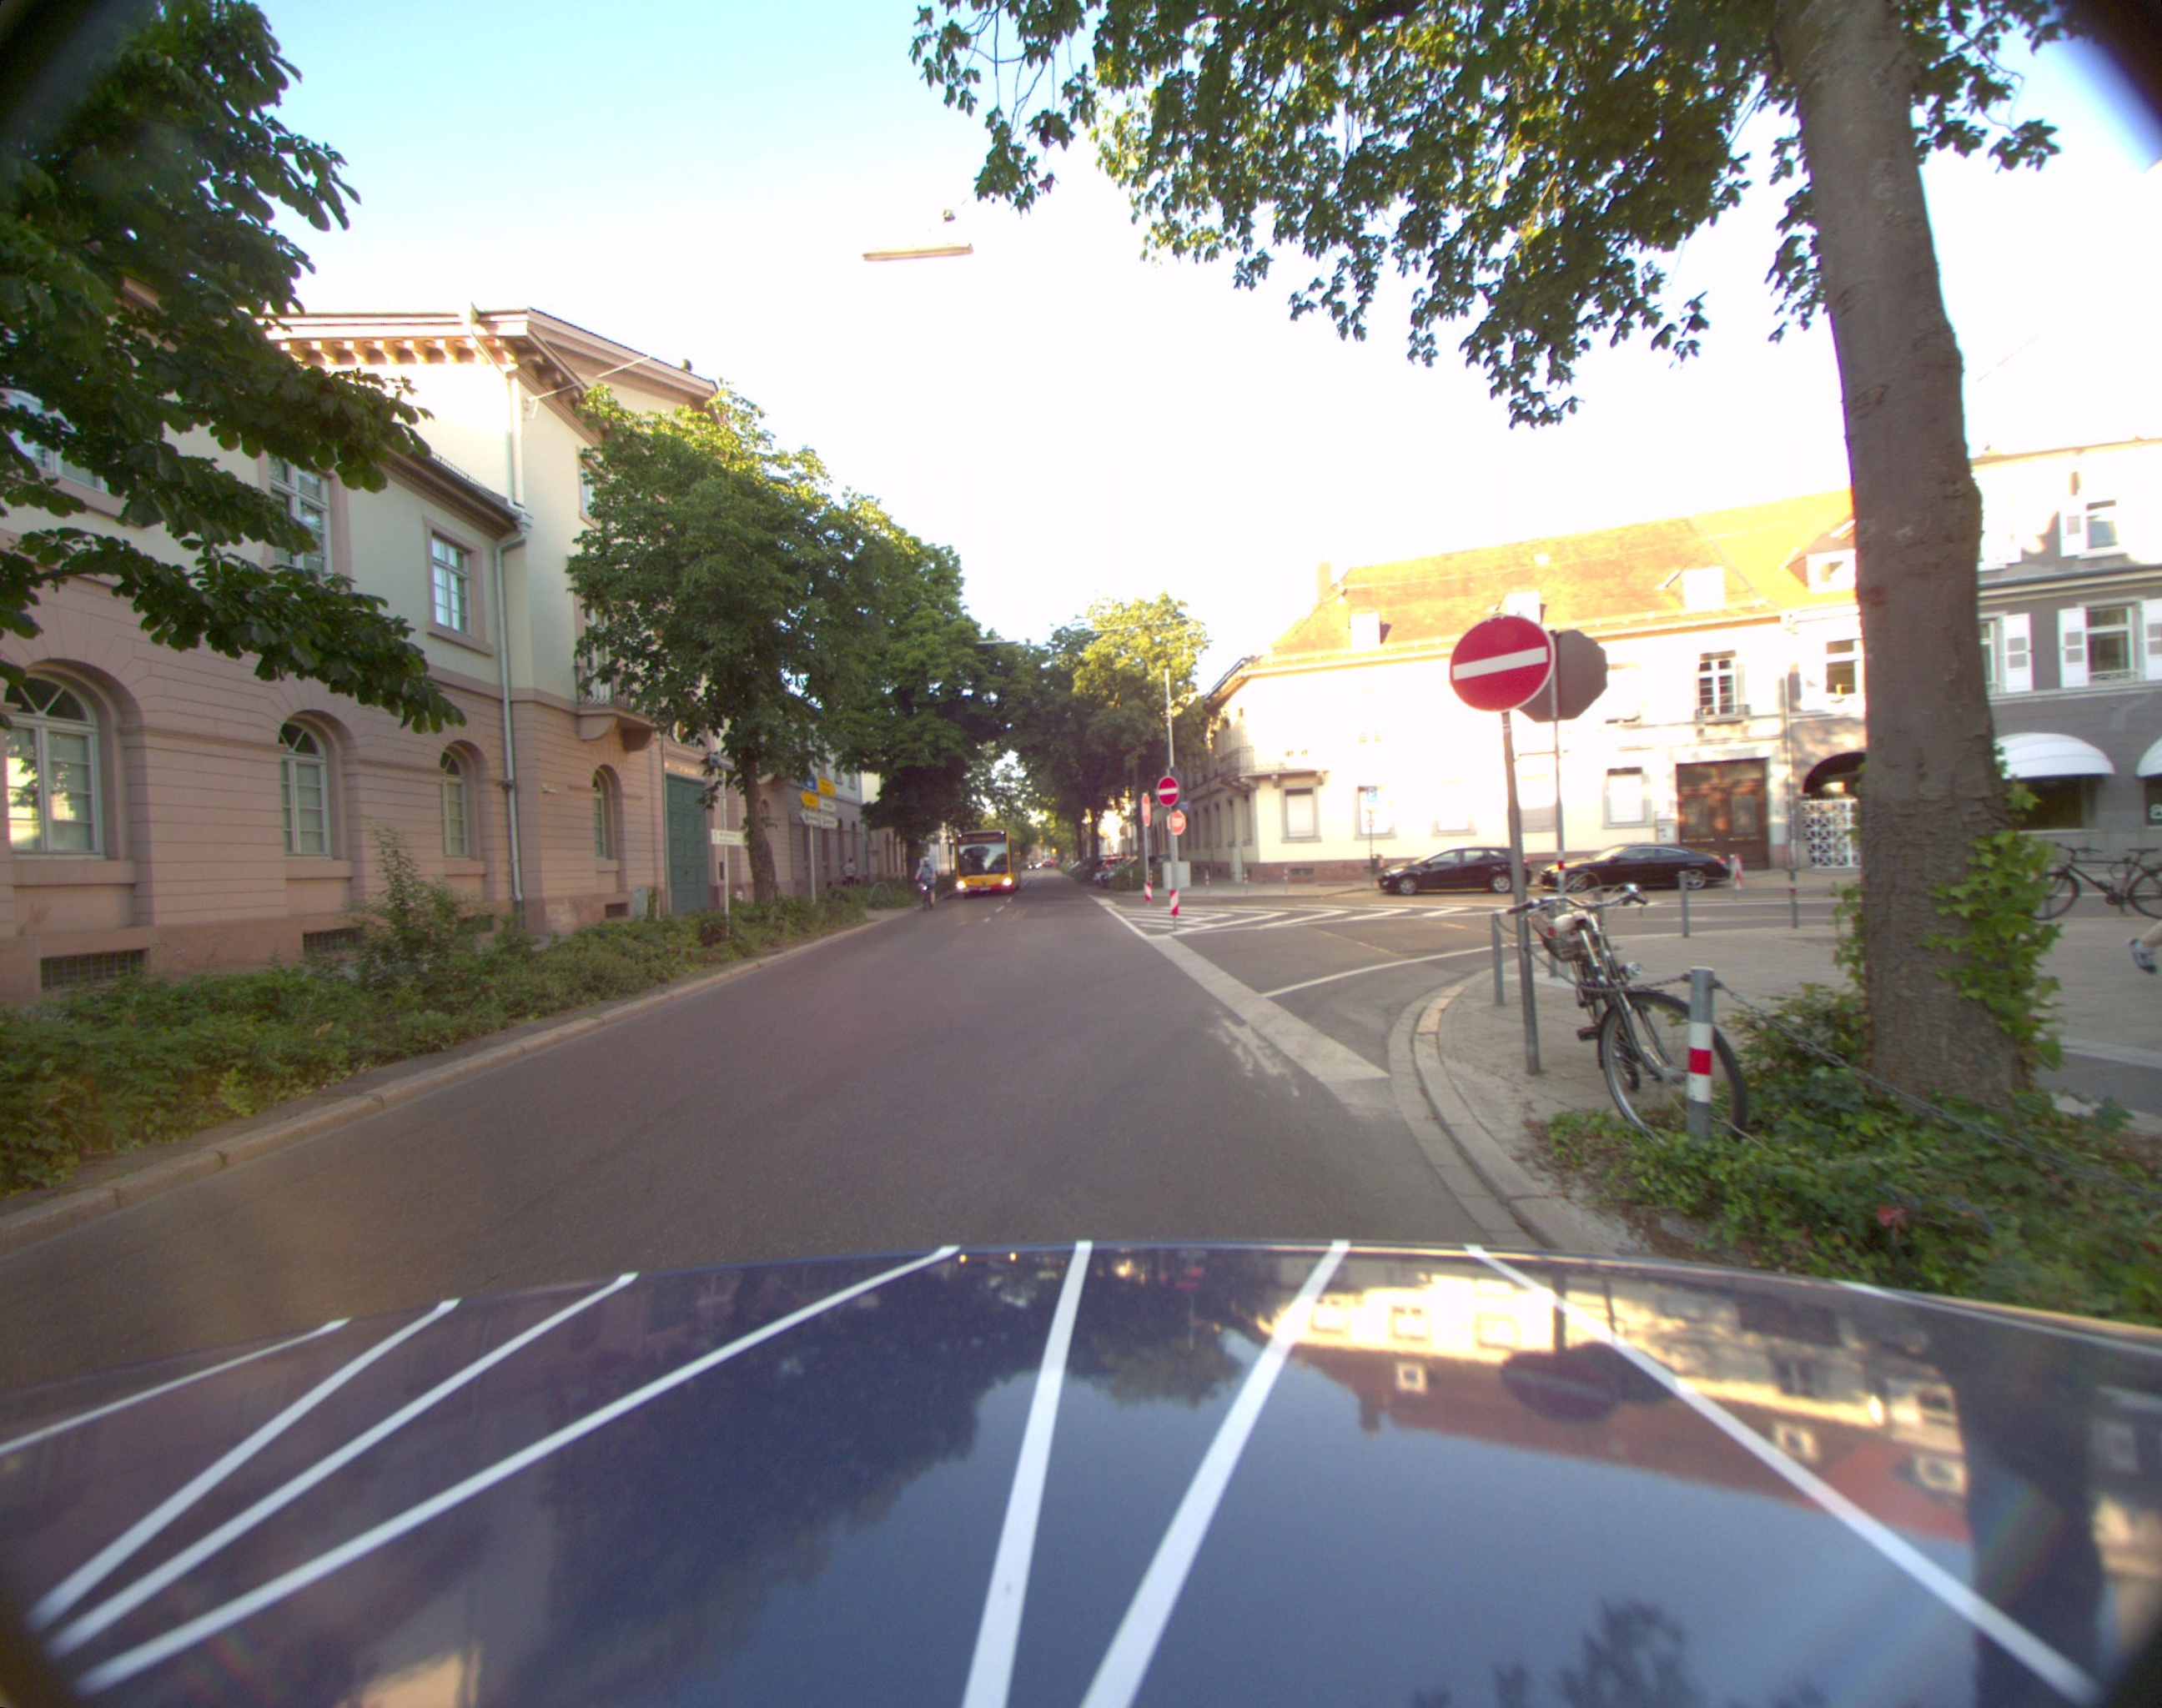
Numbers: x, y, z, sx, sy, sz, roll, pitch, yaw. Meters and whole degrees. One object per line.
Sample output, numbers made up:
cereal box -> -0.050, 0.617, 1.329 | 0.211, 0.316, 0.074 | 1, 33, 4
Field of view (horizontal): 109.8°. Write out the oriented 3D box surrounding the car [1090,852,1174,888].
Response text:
car -> 2.534, 0.788, 38.461 | 3.998, 1.606, 1.723 | -2, 0, -4

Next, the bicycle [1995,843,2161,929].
bicycle -> 13.936, 0.436, 10.299 | 1.799, 1.119, 0.730 | -3, -3, 29

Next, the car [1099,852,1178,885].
car -> 3.057, 0.768, 40.923 | 3.998, 1.606, 1.723 | -2, 0, -4

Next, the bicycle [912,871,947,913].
bicycle -> -5.296, 1.309, 26.671 | 0.783, 1.322, 2.077 | -4, 0, -2

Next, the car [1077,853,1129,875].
car -> 1.748, 0.792, 60.896 | 3.998, 1.606, 1.723 | -2, 0, -4

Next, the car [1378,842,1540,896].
car -> 11.856, 0.496, 24.199 | 4.421, 1.532, 1.810 | -2, -1, 21

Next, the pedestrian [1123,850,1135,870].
pedestrian -> 4.468, 0.571, 70.526 | 0.895, 1.760, 1.021 | -2, 0, -3

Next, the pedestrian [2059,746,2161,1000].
pedestrian -> 7.820, 0.113, 5.172 | 0.849, 1.728, 1.269 | -4, -1, 24

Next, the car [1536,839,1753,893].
car -> 16.437, 0.381, 22.493 | 4.846, 1.386, 1.782 | -2, -1, 22

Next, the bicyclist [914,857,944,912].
bicyclist -> -5.312, 1.057, 26.601 | 0.783, 1.828, 0.826 | -4, 1, -2

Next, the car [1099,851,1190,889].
car -> 2.973, 0.754, 36.085 | 3.998, 1.606, 1.828 | -2, 0, -4

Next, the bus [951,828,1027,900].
bus -> -4.497, 0.450, 39.823 | 2.712, 2.983, 12.079 | -4, 0, -2

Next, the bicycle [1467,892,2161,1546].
bicycle -> 2.313, 0.851, 2.932 | 0.844, 1.260, 2.575 | -2, 0, 13

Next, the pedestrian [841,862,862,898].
pedestrian -> -11.749, 1.315, 38.887 | 0.800, 1.821, 0.929 | -2, 0, -4
